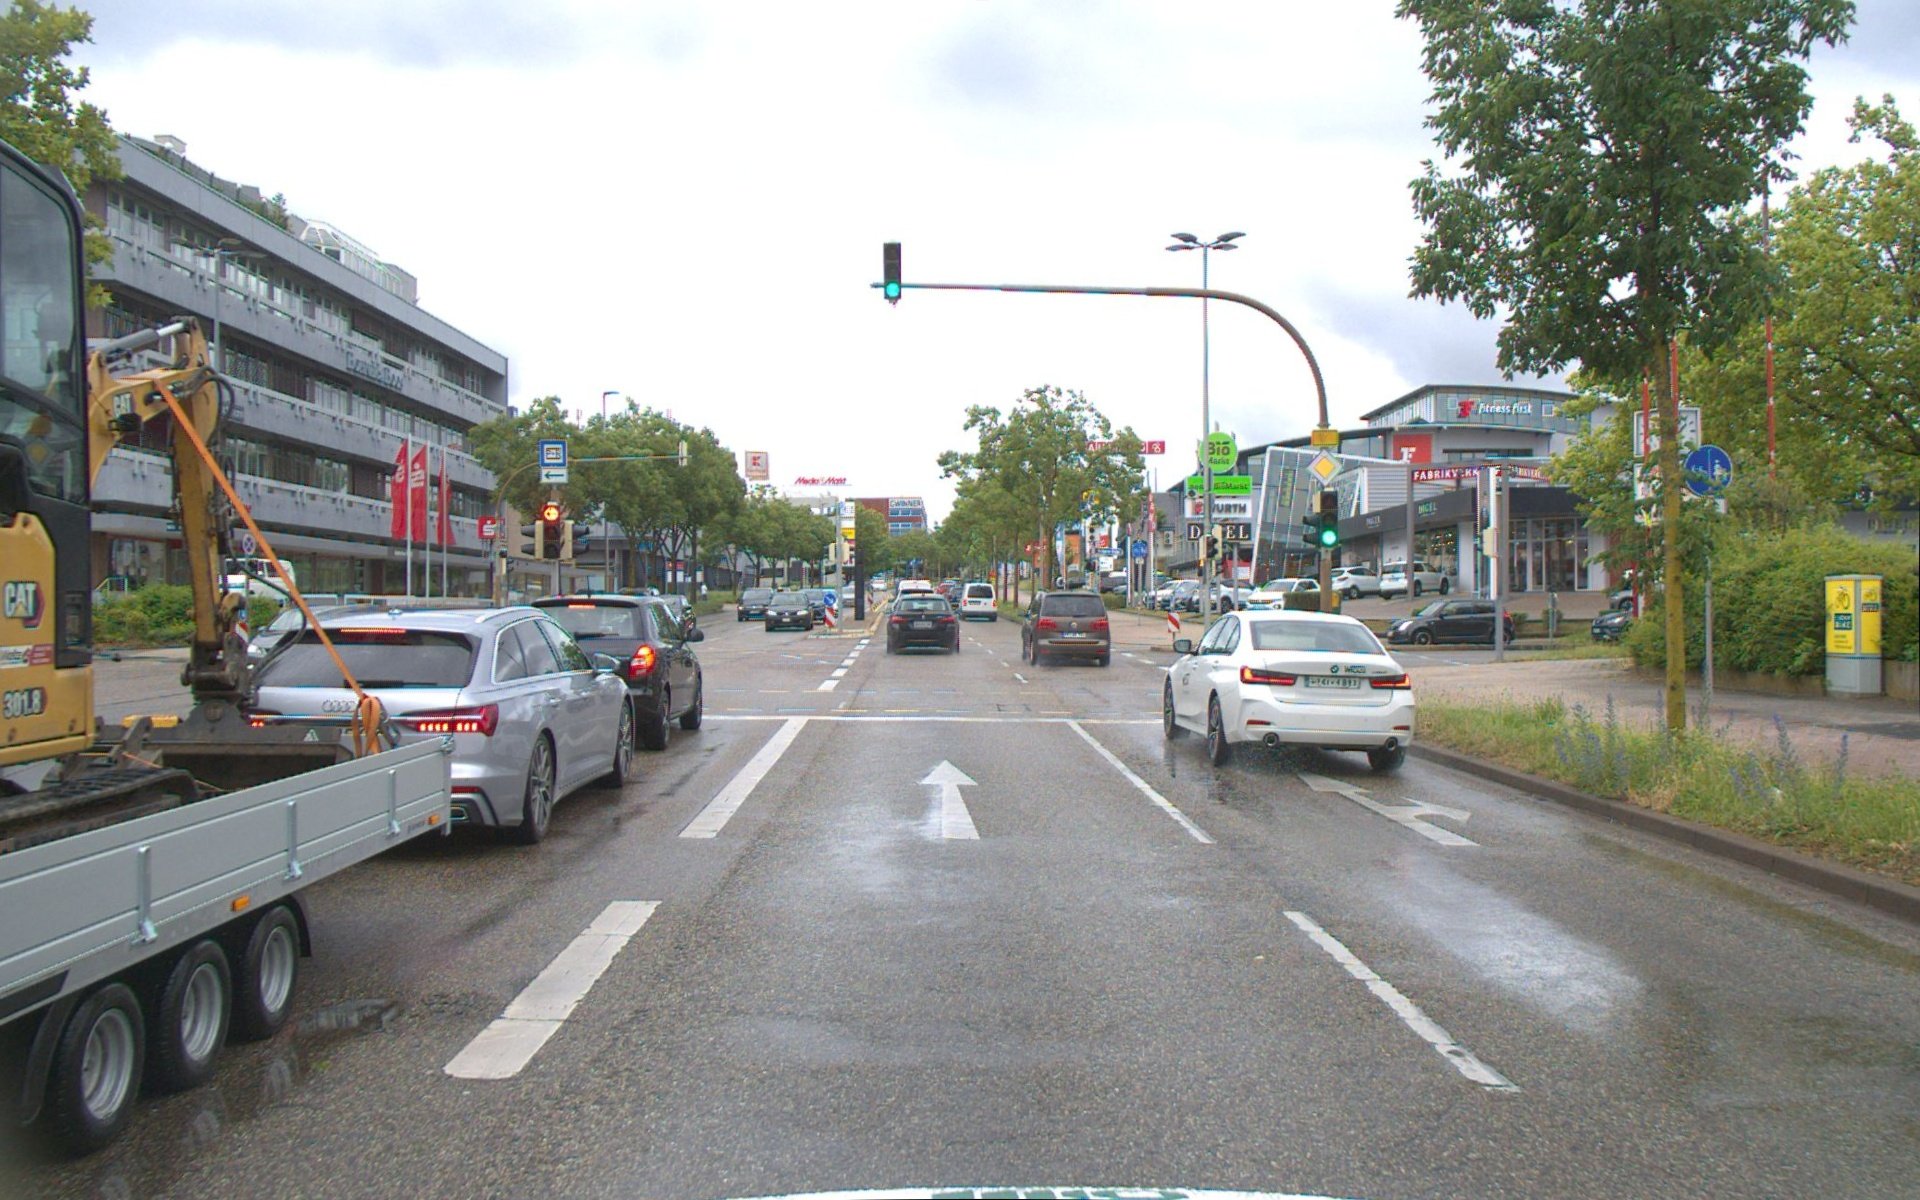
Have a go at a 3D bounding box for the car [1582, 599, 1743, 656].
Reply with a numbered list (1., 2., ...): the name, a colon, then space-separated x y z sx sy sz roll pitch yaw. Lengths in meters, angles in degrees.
1. car: 20.869 0.812 49.265 4.053 1.575 1.739 1 -1 4

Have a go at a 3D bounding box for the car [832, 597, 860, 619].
1. car: -7.931 0.575 115.406 1.688 1.422 4.787 -3 0 -2

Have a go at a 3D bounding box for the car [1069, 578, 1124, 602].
1. car: 9.998 -0.762 121.169 4.024 1.733 1.801 0 0 4

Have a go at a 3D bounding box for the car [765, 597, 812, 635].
1. car: -6.519 0.582 63.093 1.649 1.401 3.996 -1 0 -5

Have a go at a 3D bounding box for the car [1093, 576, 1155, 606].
1. car: 11.174 -0.607 112.986 4.026 1.938 1.800 -1 0 0

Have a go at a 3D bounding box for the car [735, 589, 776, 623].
1. car: -10.317 0.293 83.742 1.873 1.636 4.359 -1 0 -5

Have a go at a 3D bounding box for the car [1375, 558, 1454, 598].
1. car: 21.230 -1.020 77.183 4.123 1.802 1.710 -1 0 -45

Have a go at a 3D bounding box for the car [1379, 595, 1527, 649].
1. car: 14.765 0.668 49.668 3.898 1.515 1.817 -1 -1 -1

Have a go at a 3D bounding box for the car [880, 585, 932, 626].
1. car: -1.963 0.196 58.940 1.649 1.401 3.996 -1 0 -5

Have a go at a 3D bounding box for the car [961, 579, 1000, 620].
1. car: 0.984 -0.030 80.793 1.746 1.899 3.999 -1 0 -2

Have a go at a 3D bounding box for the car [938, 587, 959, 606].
1. car: -0.950 -0.306 135.901 1.661 1.468 3.989 0 2 -1

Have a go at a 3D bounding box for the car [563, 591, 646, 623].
1. car: -18.052 0.348 83.894 3.916 1.579 1.894 -1 0 33

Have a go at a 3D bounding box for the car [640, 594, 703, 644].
1. car: -9.678 0.608 55.705 1.677 1.608 3.996 -1 0 -5

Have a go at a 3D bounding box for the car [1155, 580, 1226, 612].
1. car: 11.647 -0.191 83.494 3.566 1.563 1.619 -1 0 -41

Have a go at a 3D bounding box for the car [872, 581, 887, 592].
1. car: -10.276 -1.712 211.424 1.904 1.474 3.998 0 0 -2

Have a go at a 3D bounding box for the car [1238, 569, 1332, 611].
1. car: 12.965 -0.409 65.826 1.896 1.604 4.265 -1 0 40

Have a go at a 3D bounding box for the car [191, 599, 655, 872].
1. car: -3.392 0.744 11.488 1.730 1.484 4.779 -1 0 -1

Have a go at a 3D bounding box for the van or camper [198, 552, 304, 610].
1. van or camper: -26.554 -0.677 62.105 1.953 2.001 4.787 1 -1 -1

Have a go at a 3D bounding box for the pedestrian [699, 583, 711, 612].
1. pedestrian: -19.503 -0.193 126.692 0.842 2.257 0.845 0 0 -4

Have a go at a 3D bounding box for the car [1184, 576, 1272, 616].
1. car: 12.626 -0.185 77.769 3.991 1.692 1.953 -3 2 -41

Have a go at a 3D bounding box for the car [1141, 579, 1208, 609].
1. car: 11.841 -0.323 91.200 3.567 1.563 1.770 -2 1 -41

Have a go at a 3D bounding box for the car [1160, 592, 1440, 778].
1. car: 3.243 0.747 16.705 1.764 1.571 4.619 2 0 -1

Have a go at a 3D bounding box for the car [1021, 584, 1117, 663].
1. car: 2.374 0.478 36.886 1.764 1.615 4.450 2 0 -1

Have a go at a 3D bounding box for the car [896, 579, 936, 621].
1. car: -2.209 0.033 83.481 1.953 2.049 3.999 1 -1 -1

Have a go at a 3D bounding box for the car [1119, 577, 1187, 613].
1. car: 11.859 -0.314 101.838 4.026 2.142 1.799 0 0 0

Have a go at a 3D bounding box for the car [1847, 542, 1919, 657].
1. car: 14.164 -0.036 21.949 3.904 1.467 1.655 -1 0 1

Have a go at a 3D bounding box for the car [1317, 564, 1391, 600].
1. car: 20.718 -0.939 86.843 4.117 1.802 1.712 -1 0 -41

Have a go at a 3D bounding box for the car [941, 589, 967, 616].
1. car: -0.389 0.179 106.719 1.650 1.713 3.402 1 -1 0

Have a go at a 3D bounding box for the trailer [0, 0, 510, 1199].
1. trailer: -3.248 -0.002 5.167 2.325 2.947 5.543 -1 0 -2

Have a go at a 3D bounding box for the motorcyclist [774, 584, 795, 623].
1. motorcyclist: -7.191 0.120 67.686 0.790 1.586 1.267 0 0 -3

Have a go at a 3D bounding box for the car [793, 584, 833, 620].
1. car: -6.410 0.102 72.492 1.710 1.515 4.824 0 0 -4

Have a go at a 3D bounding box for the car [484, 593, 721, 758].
1. car: -3.626 0.698 17.438 1.679 1.515 4.076 -1 0 -1

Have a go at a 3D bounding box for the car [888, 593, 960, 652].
1. car: -0.929 0.542 42.115 1.745 1.422 3.999 1 0 -2
